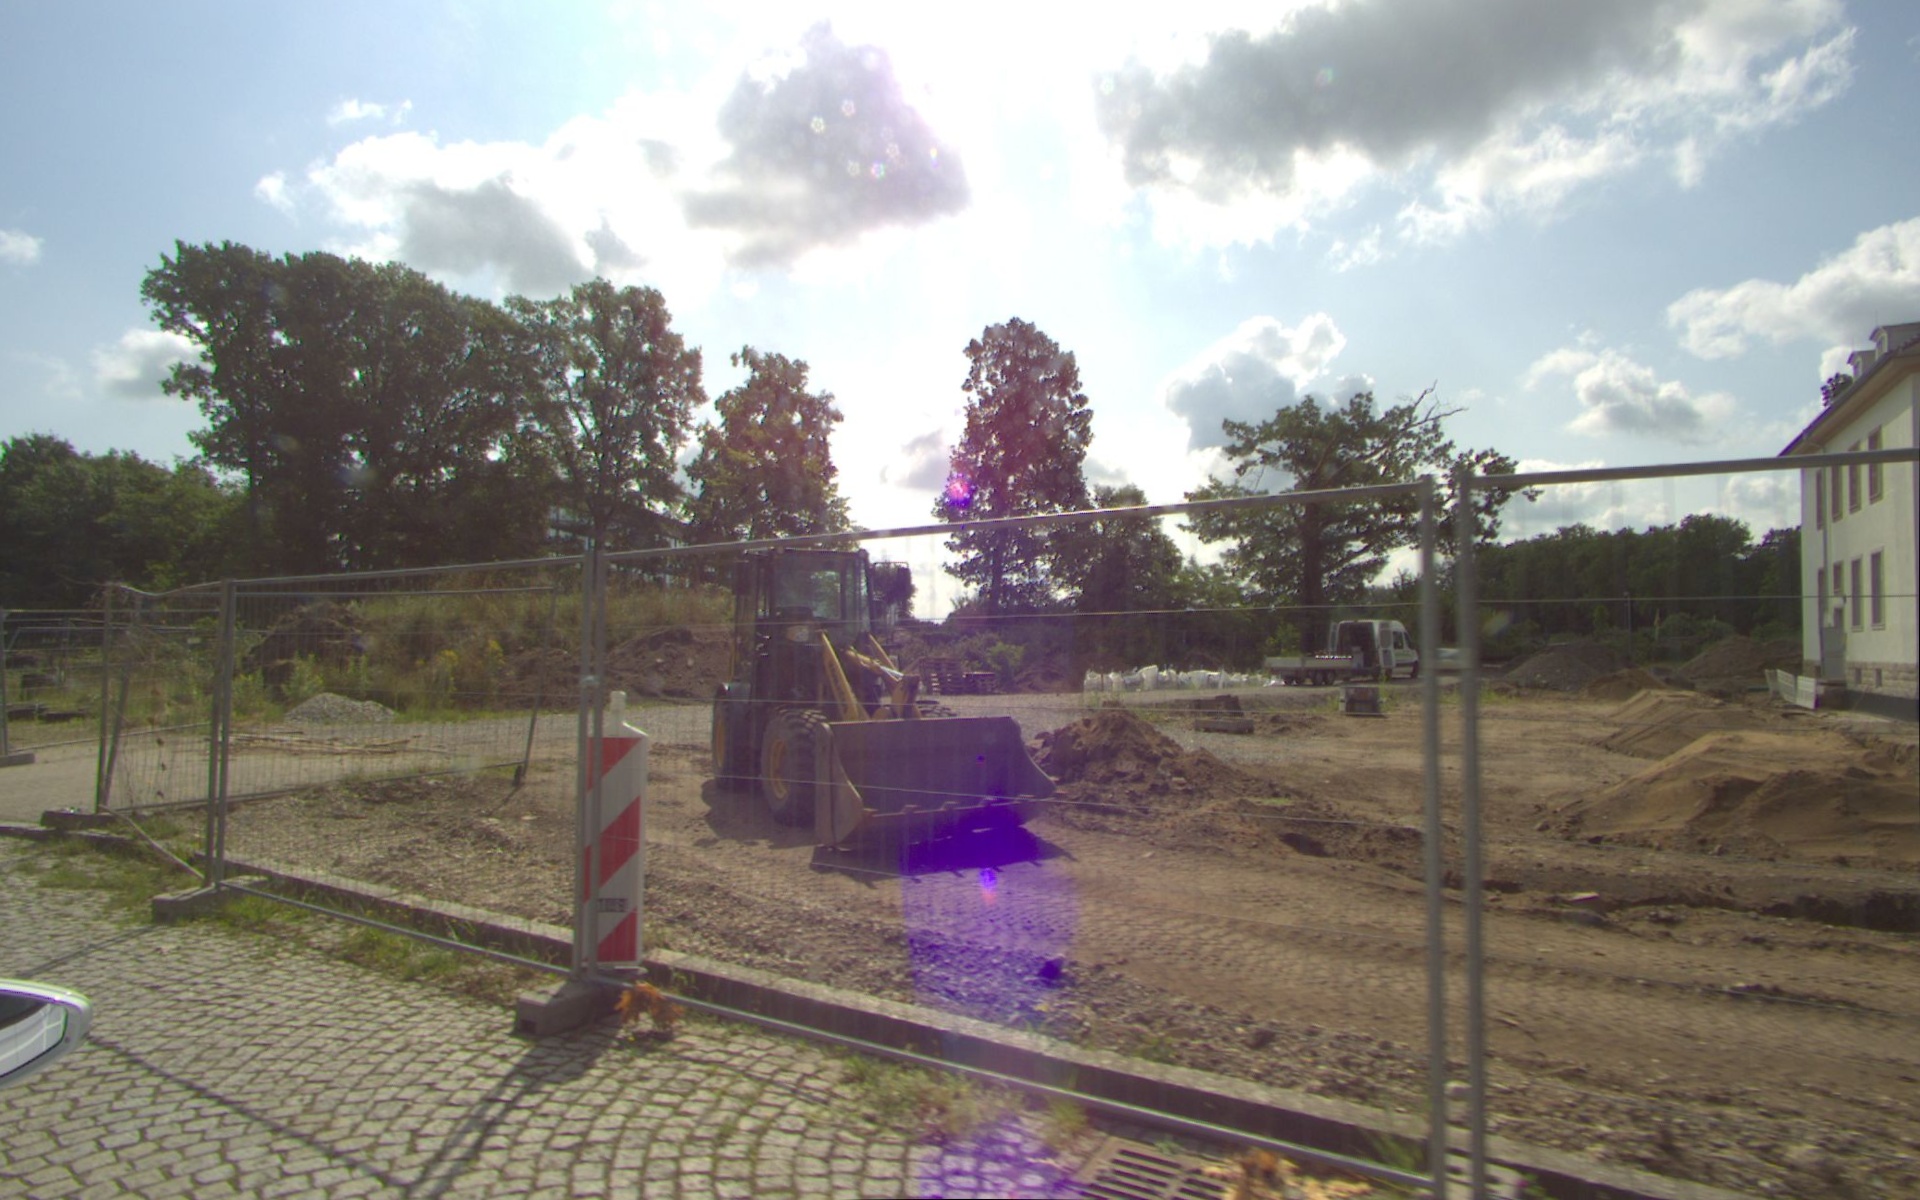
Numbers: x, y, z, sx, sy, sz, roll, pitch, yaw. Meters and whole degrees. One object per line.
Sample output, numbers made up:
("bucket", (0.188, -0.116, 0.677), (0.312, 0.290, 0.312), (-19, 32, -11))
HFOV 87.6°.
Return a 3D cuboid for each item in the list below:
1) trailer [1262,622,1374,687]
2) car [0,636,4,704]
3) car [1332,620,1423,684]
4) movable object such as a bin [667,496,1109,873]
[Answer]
("trailer", (14.523, 2.171, 40.520), (4.786, 2.504, 1.948), (2, -2, -36))
("car", (-23.038, 1.530, 20.698), (1.718, 1.494, 4.451), (-1, -1, 27))
("car", (18.418, 2.267, 44.037), (2.221, 2.623, 5.399), (-2, -3, 40))
("movable object such as a bin", (-1.126, 0.650, 9.790), (2.119, 2.554, 5.628), (1, -1, -29))
